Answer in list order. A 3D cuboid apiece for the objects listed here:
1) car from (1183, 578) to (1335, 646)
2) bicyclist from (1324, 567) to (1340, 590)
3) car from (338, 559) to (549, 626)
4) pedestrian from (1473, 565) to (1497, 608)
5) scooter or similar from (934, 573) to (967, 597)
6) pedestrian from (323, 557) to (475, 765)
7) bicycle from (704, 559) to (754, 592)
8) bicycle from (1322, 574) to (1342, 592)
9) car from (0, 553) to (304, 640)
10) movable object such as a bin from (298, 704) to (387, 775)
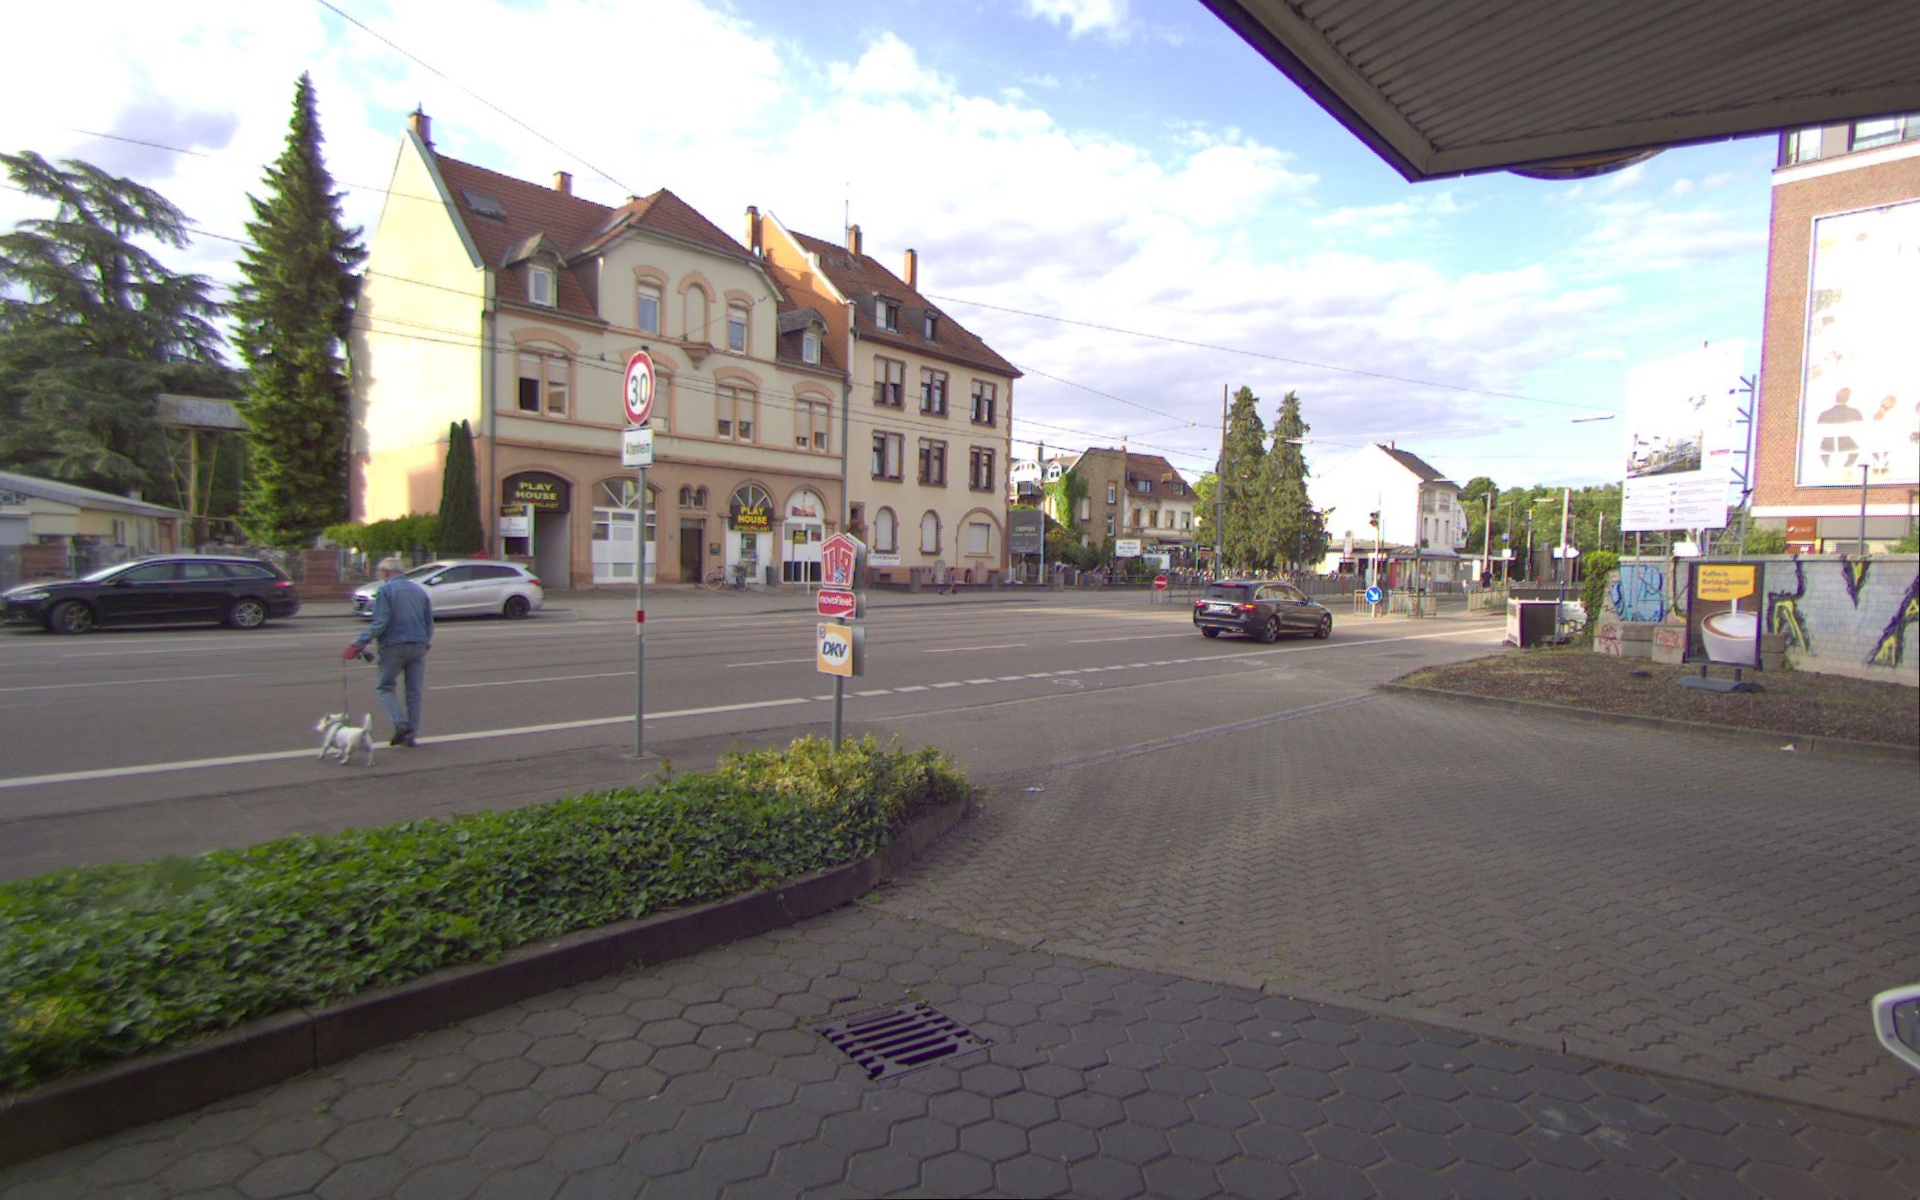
[{"bbox_3d":[7.460,0.238,24.802,1.730,1.488,4.543,4,3,43],"label":"car"},{"bbox_3d":[26.058,-1.497,70.295,0.671,1.555,1.079,2,2,42],"label":"bicyclist"},{"bbox_3d":[-12.918,-0.235,25.354,1.699,1.503,4.434,4,4,40],"label":"car"},{"bbox_3d":[25.090,-0.639,48.010,0.797,2.040,0.846,2,0,44],"label":"pedestrian"},{"bbox_3d":[-0.433,-0.663,45.109,0.461,1.041,1.655,4,3,40],"label":"scooter or similar"},{"bbox_3d":[-5.030,0.487,9.011,0.996,1.691,0.959,-2,6,-42],"label":"pedestrian"},{"bbox_3d":[-9.104,-0.954,39.608,0.665,1.229,1.862,4,2,41],"label":"bicycle"},{"bbox_3d":[26.045,-1.189,70.308,0.671,1.239,1.909,2,2,41],"label":"bicycle"},{"bbox_3d":[-16.599,-0.140,20.733,1.983,1.520,4.755,4,4,39],"label":"car"},{"bbox_3d":[-5.164,1.149,8.400,0.670,0.426,0.478,6,6,43],"label":"movable object such as a bin"}]
